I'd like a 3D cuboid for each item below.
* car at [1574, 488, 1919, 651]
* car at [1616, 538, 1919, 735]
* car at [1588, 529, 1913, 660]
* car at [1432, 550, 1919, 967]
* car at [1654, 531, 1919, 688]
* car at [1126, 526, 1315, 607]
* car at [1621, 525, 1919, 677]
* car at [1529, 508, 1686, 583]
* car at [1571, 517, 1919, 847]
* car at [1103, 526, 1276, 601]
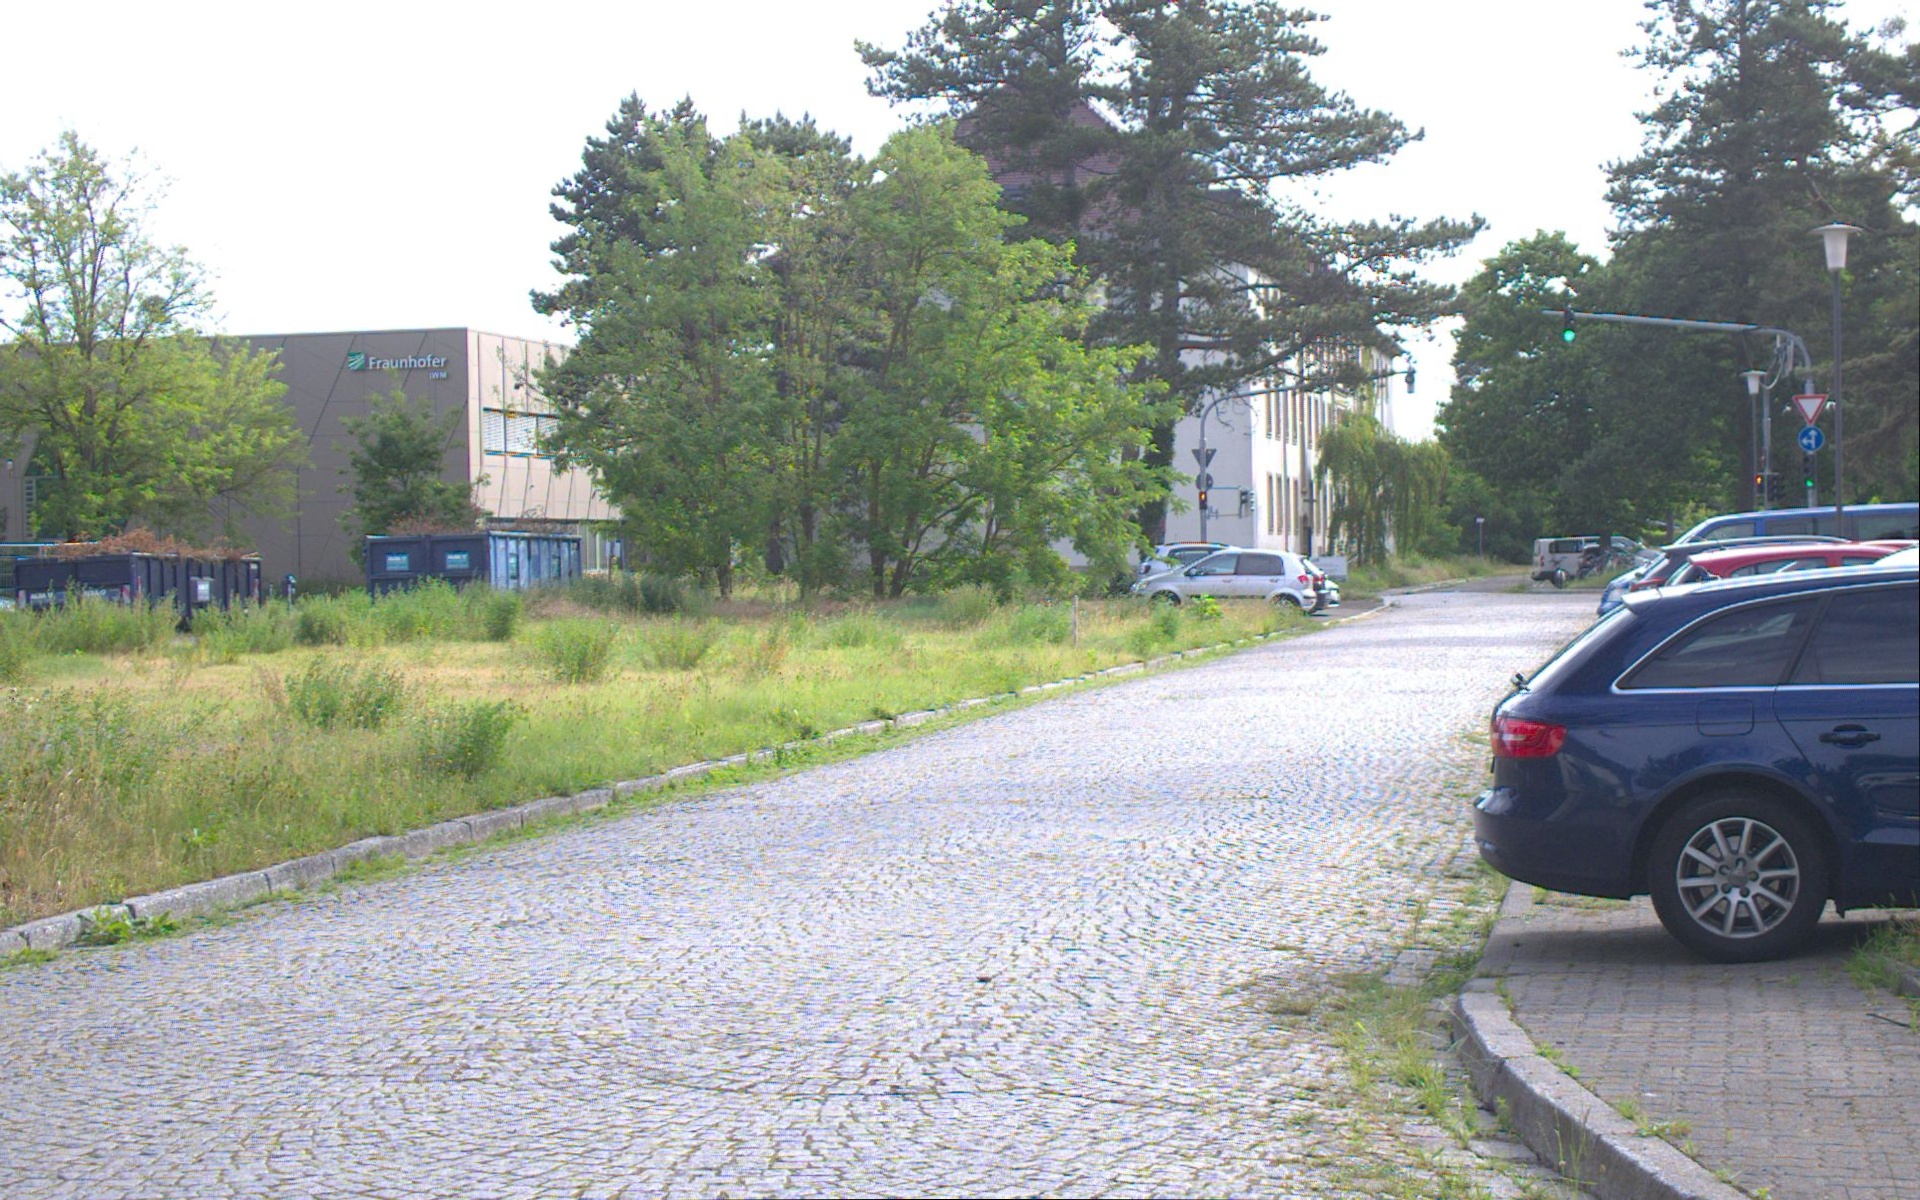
[{"bbox_3d":[10.842,-0.434,46.685,4.822,1.859,2.161,-4,1,10],"label":"car"},{"bbox_3d":[7.286,0.257,27.661,3.886,1.473,1.671,-2,0,11],"label":"car"},{"bbox_3d":[10.140,-0.077,44.356,3.921,1.388,1.742,-4,1,10],"label":"car"},{"bbox_3d":[4.113,0.539,12.877,4.434,1.475,1.681,-2,0,15],"label":"car"},{"bbox_3d":[9.162,0.081,35.278,3.943,1.515,1.706,-1,0,12],"label":"car"},{"bbox_3d":[5.396,-0.699,71.016,3.720,1.433,1.626,-3,1,8],"label":"car"},{"bbox_3d":[9.298,-0.004,37.844,3.907,1.598,1.820,-1,1,9],"label":"car"},{"bbox_3d":[25.628,-2.156,136.353,5.781,2.553,2.769,-4,1,7],"label":"car"},{"bbox_3d":[5.253,0.363,17.585,4.140,1.567,1.789,-1,2,11],"label":"car"},{"bbox_3d":[5.095,-0.810,76.469,3.720,1.433,1.626,-3,1,4],"label":"car"}]
